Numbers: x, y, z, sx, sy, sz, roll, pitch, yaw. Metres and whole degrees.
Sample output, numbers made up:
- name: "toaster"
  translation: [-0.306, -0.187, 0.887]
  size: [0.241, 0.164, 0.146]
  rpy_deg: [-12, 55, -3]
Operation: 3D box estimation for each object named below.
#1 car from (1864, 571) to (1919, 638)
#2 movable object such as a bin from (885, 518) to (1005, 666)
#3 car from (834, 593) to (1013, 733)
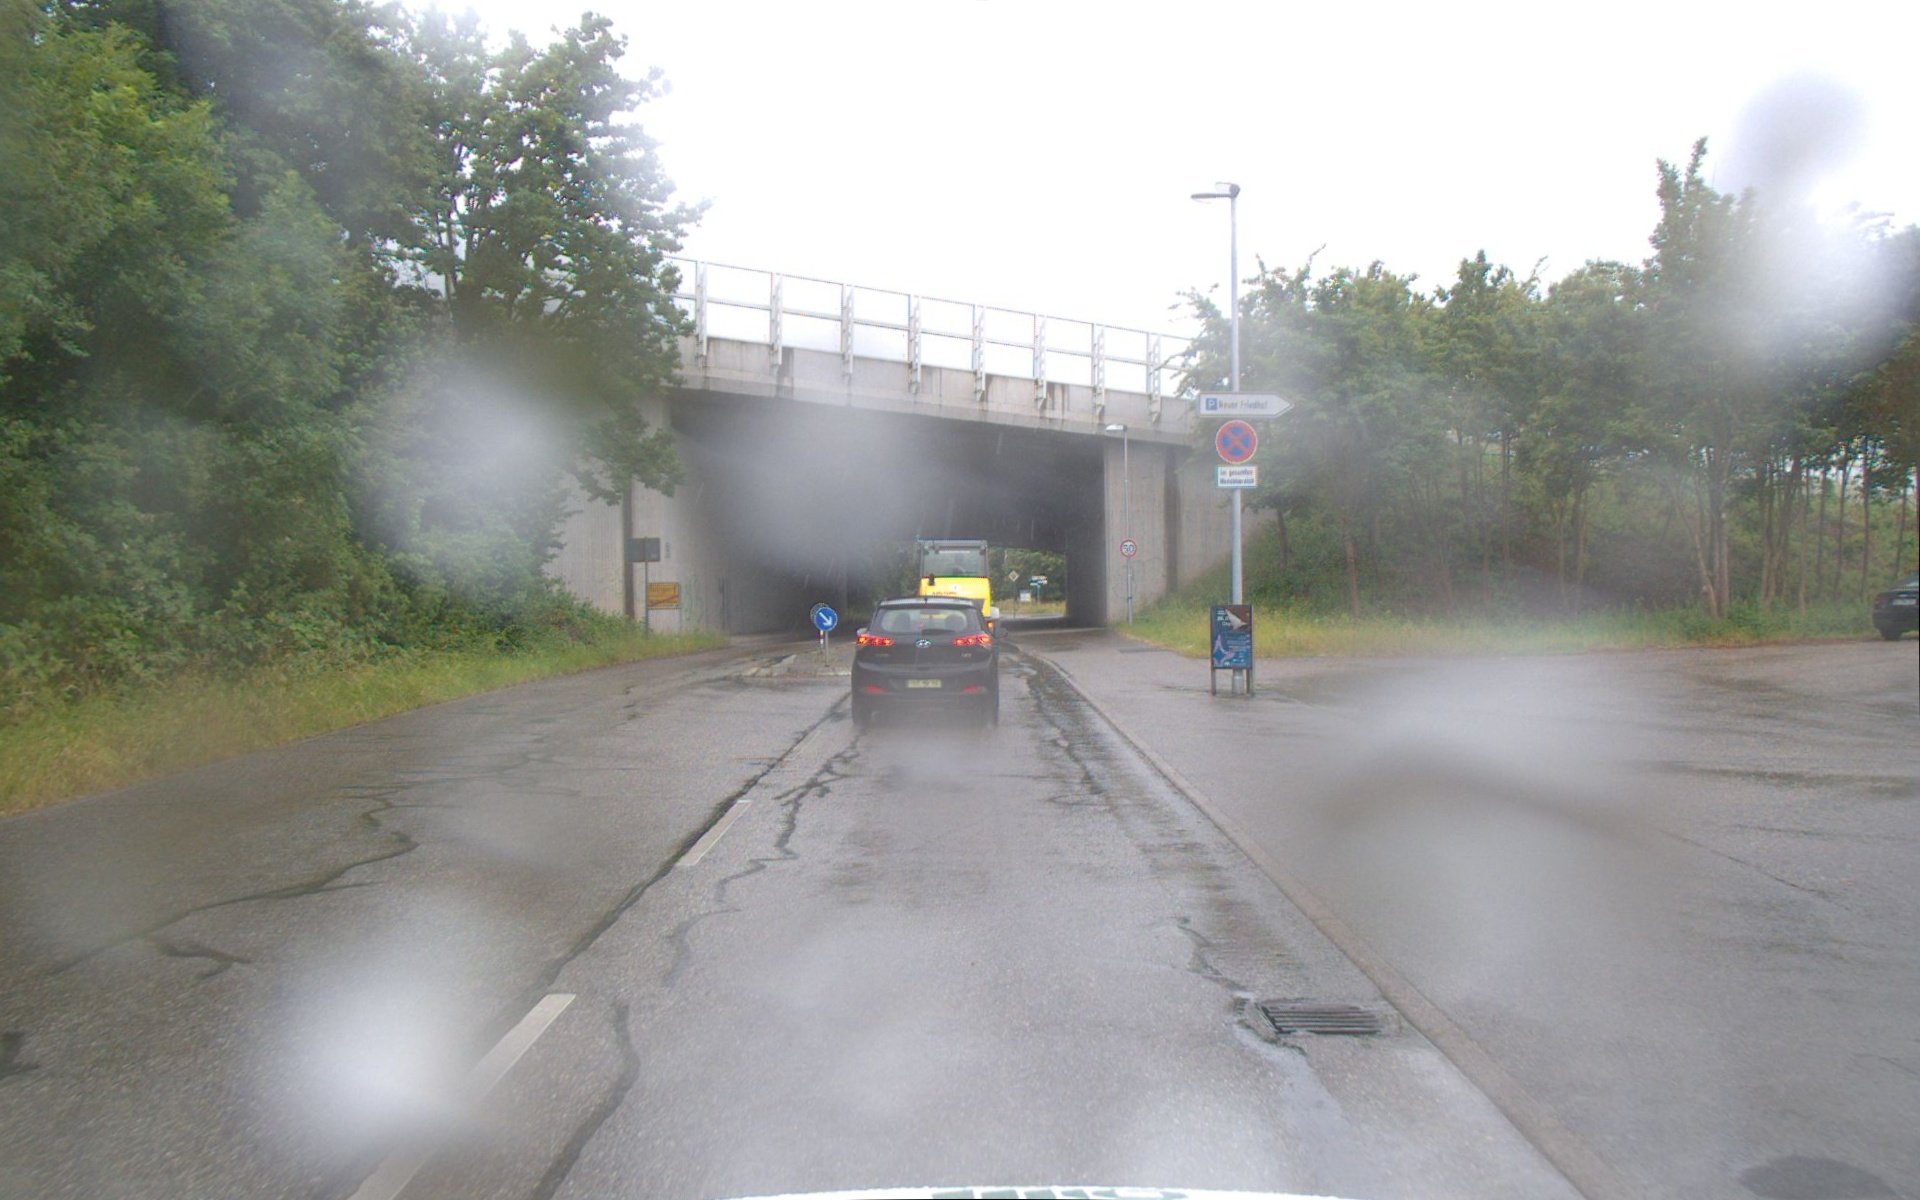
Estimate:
- name: "car"
  translation: [21.412, 0.108, 35.539]
  size: [4.063, 1.383, 1.882]
  rpy_deg: [1, 0, -35]
- name: "movable object such as a bin"
  translation: [-0.335, -0.142, 33.923]
  size: [2.200, 2.716, 6.625]
  rpy_deg: [1, 0, -1]
- name: "car"
  translation: [-0.439, 0.693, 20.138]
  size: [1.953, 1.513, 3.999]
  rpy_deg: [1, 0, -1]
